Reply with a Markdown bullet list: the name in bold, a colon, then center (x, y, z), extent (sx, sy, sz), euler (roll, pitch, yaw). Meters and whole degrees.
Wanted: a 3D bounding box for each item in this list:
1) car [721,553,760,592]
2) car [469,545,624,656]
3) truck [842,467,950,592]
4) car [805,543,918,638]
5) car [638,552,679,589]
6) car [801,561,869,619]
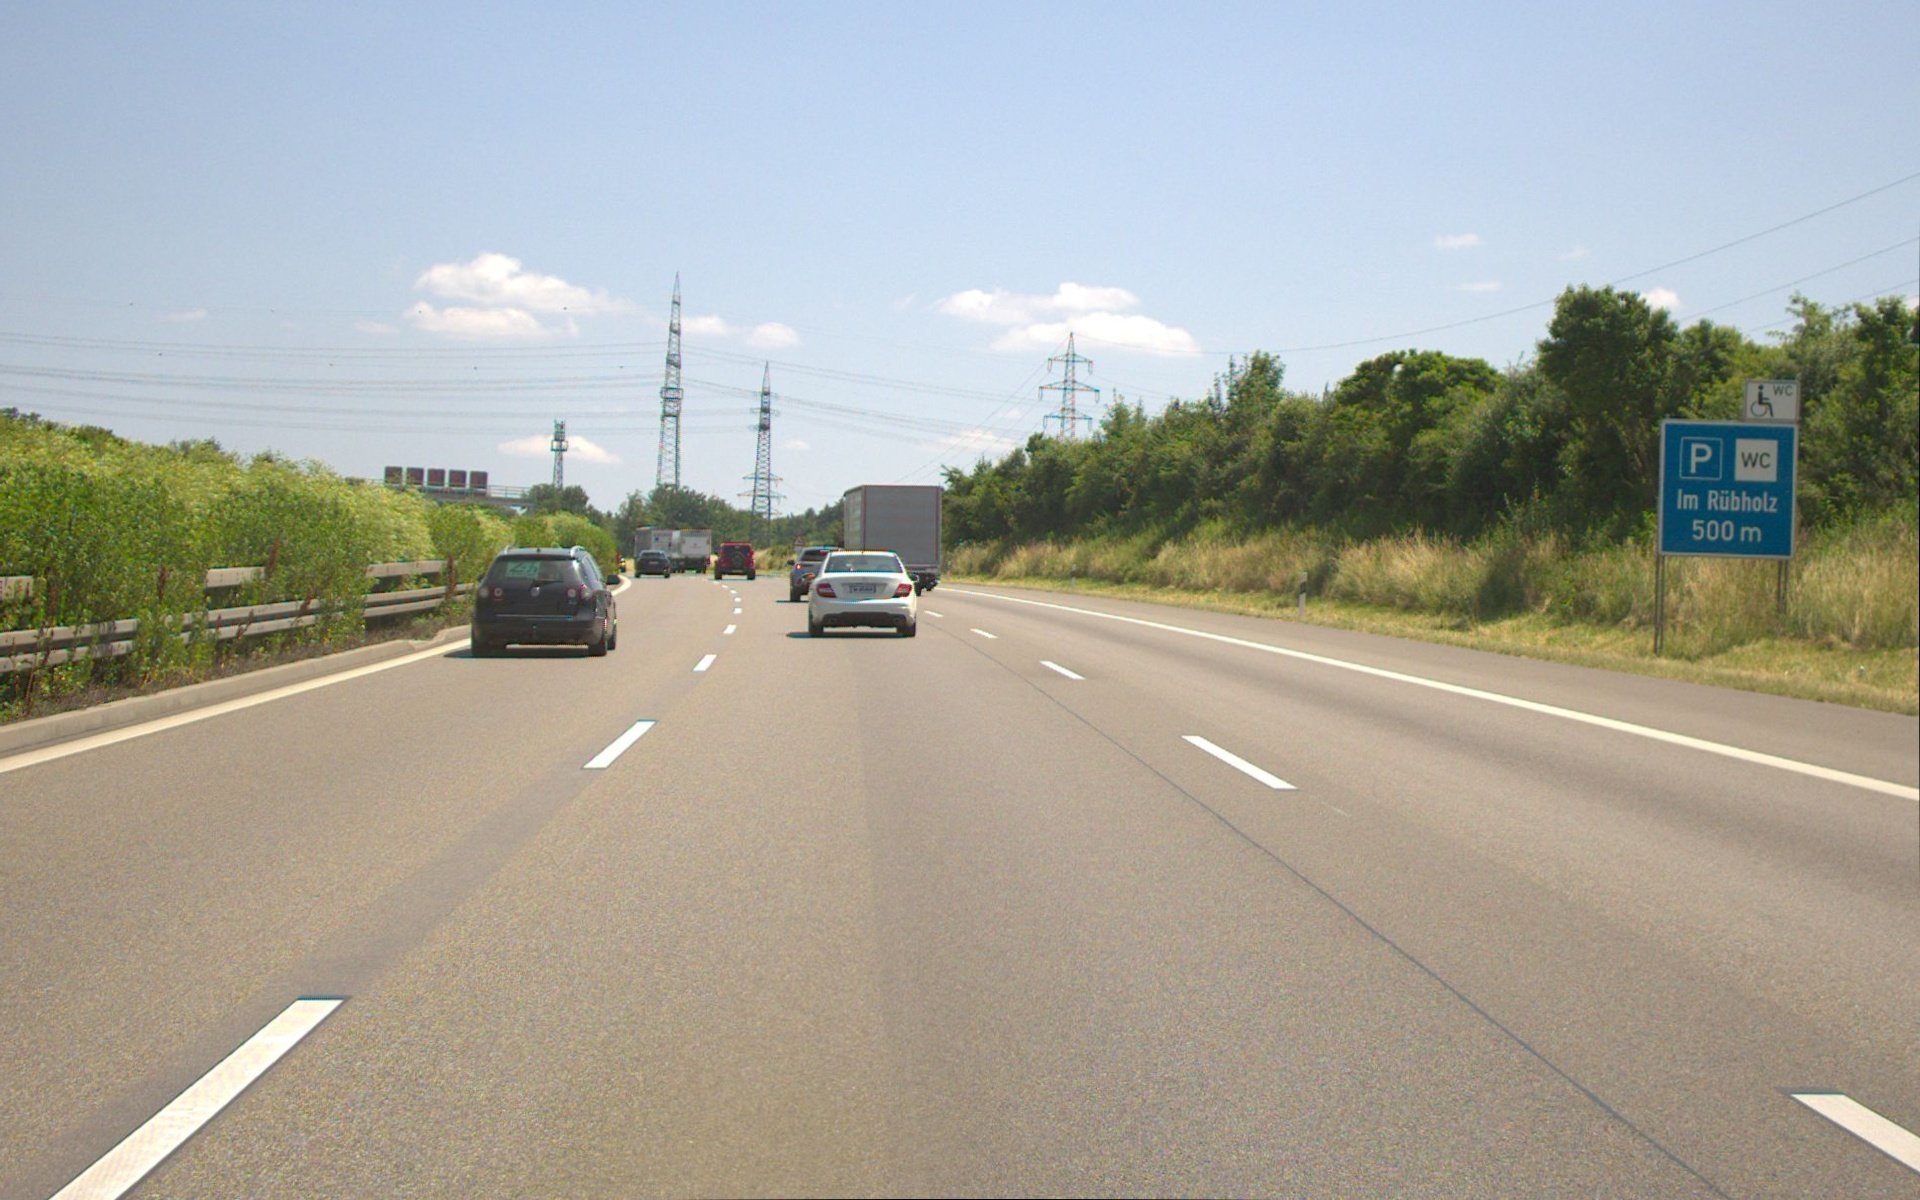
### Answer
- **car**: center (-10.961, -1.386, 171.457), extent (1.901, 1.919, 4.001), euler (0, 1, -5)
- **car**: center (-5.576, -0.029, 46.723), extent (1.756, 1.424, 4.001), euler (0, 1, -2)
- **truck**: center (-2.176, -2.252, 113.213), extent (3.221, 3.911, 9.061), euler (1, 0, -3)
- **car**: center (-1.658, -0.187, 57.779), extent (1.819, 1.535, 3.915), euler (0, 1, -2)
- **car**: center (-15.800, -1.551, 180.213), extent (1.993, 1.853, 4.001), euler (1, 1, -3)
- **car**: center (-3.447, -0.301, 95.121), extent (1.838, 1.535, 3.915), euler (0, 1, -2)
